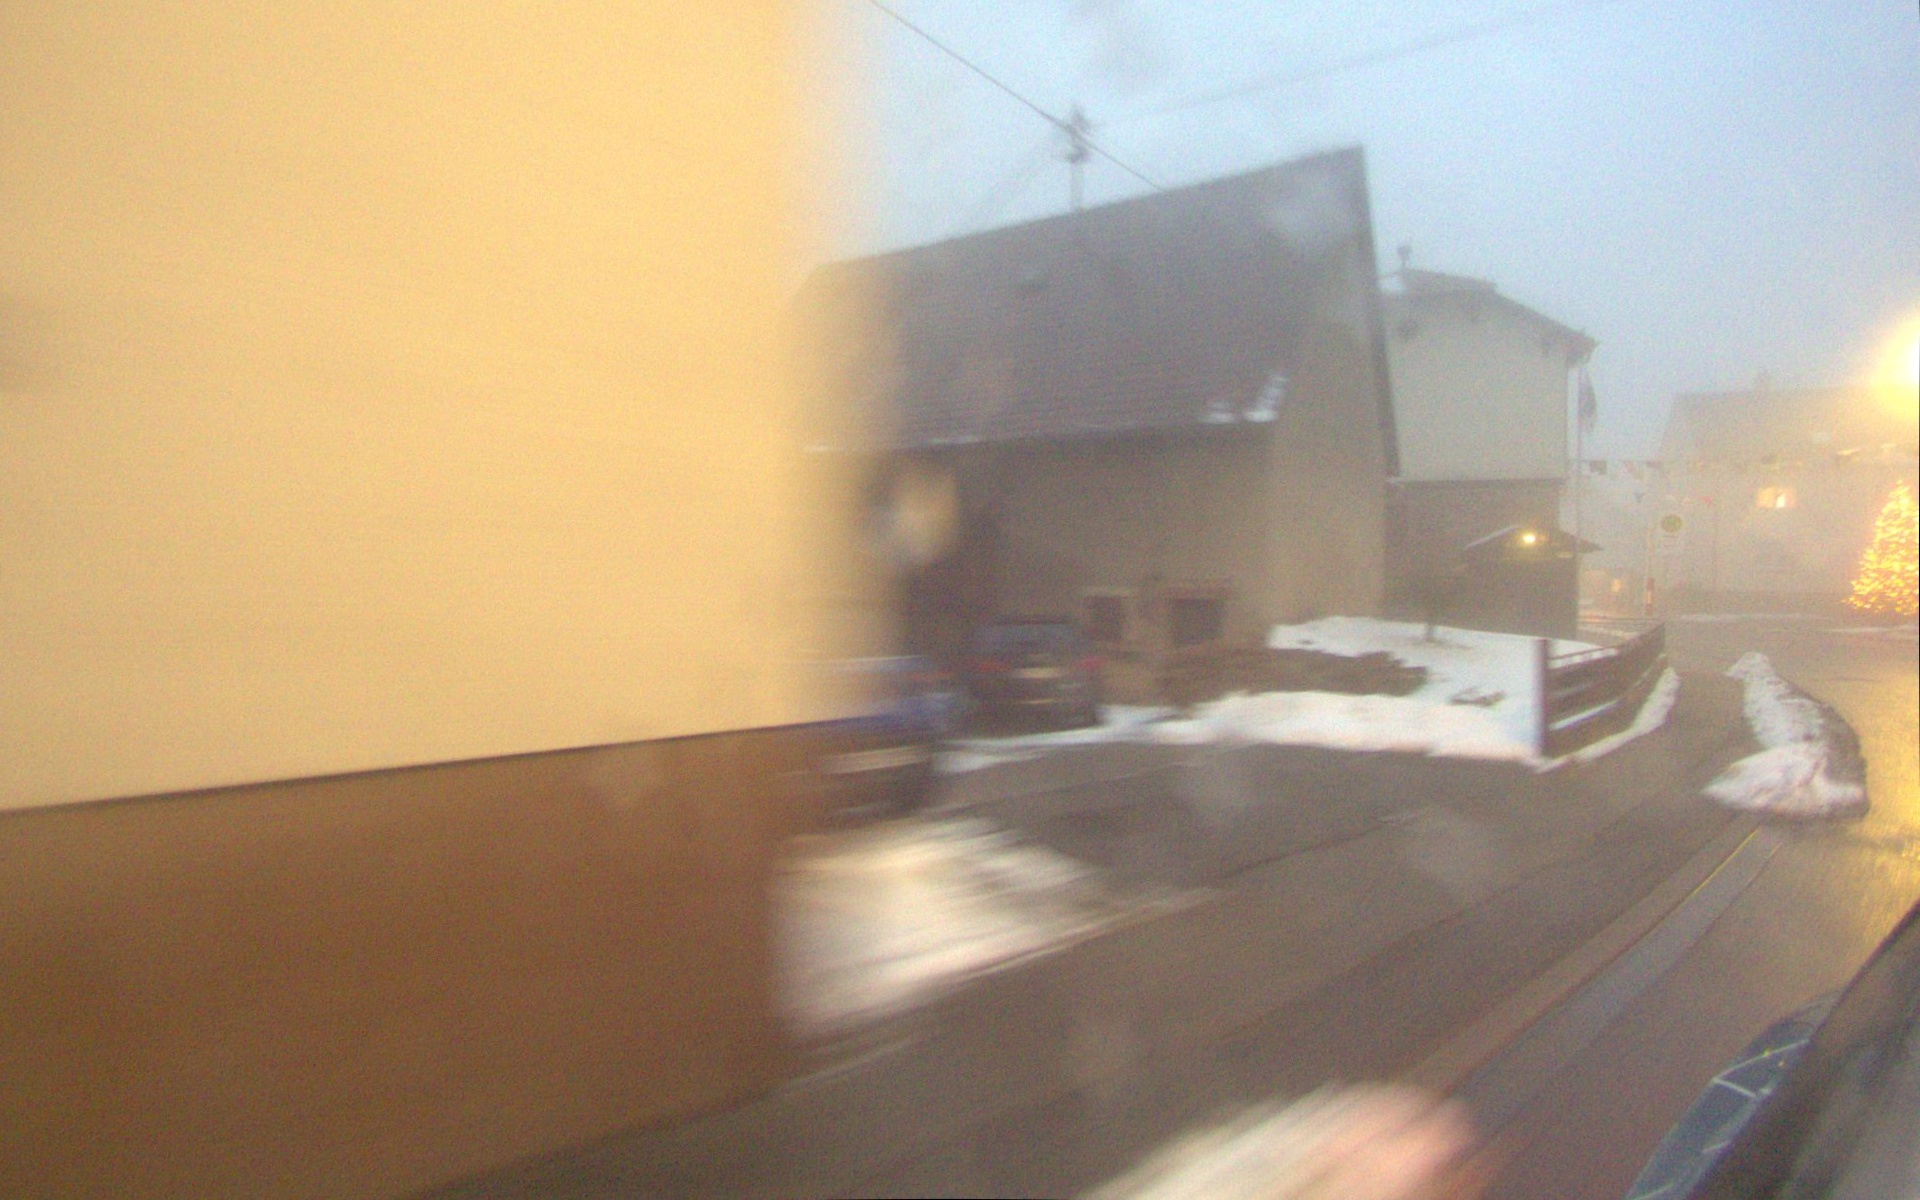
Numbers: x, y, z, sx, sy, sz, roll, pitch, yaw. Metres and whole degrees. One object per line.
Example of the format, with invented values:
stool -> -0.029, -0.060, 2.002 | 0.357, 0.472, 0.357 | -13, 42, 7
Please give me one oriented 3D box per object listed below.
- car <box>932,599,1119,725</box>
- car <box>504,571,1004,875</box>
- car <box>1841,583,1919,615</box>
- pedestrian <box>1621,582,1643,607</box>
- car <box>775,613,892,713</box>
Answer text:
car -> 0.713, 0.790, 13.737 | 1.722, 1.391, 4.004 | -2, -2, -8
car -> -1.748, 0.682, 7.528 | 1.878, 1.616, 3.992 | -1, -1, -42
car -> 42.770, -0.072, 46.016 | 3.738, 1.390, 1.617 | -1, 1, 19
pedestrian -> 36.587, -0.312, 55.127 | 0.798, 1.346, 0.657 | -1, 1, 15
car -> -2.053, 0.969, 16.290 | 1.646, 1.378, 3.394 | -2, -2, -8
